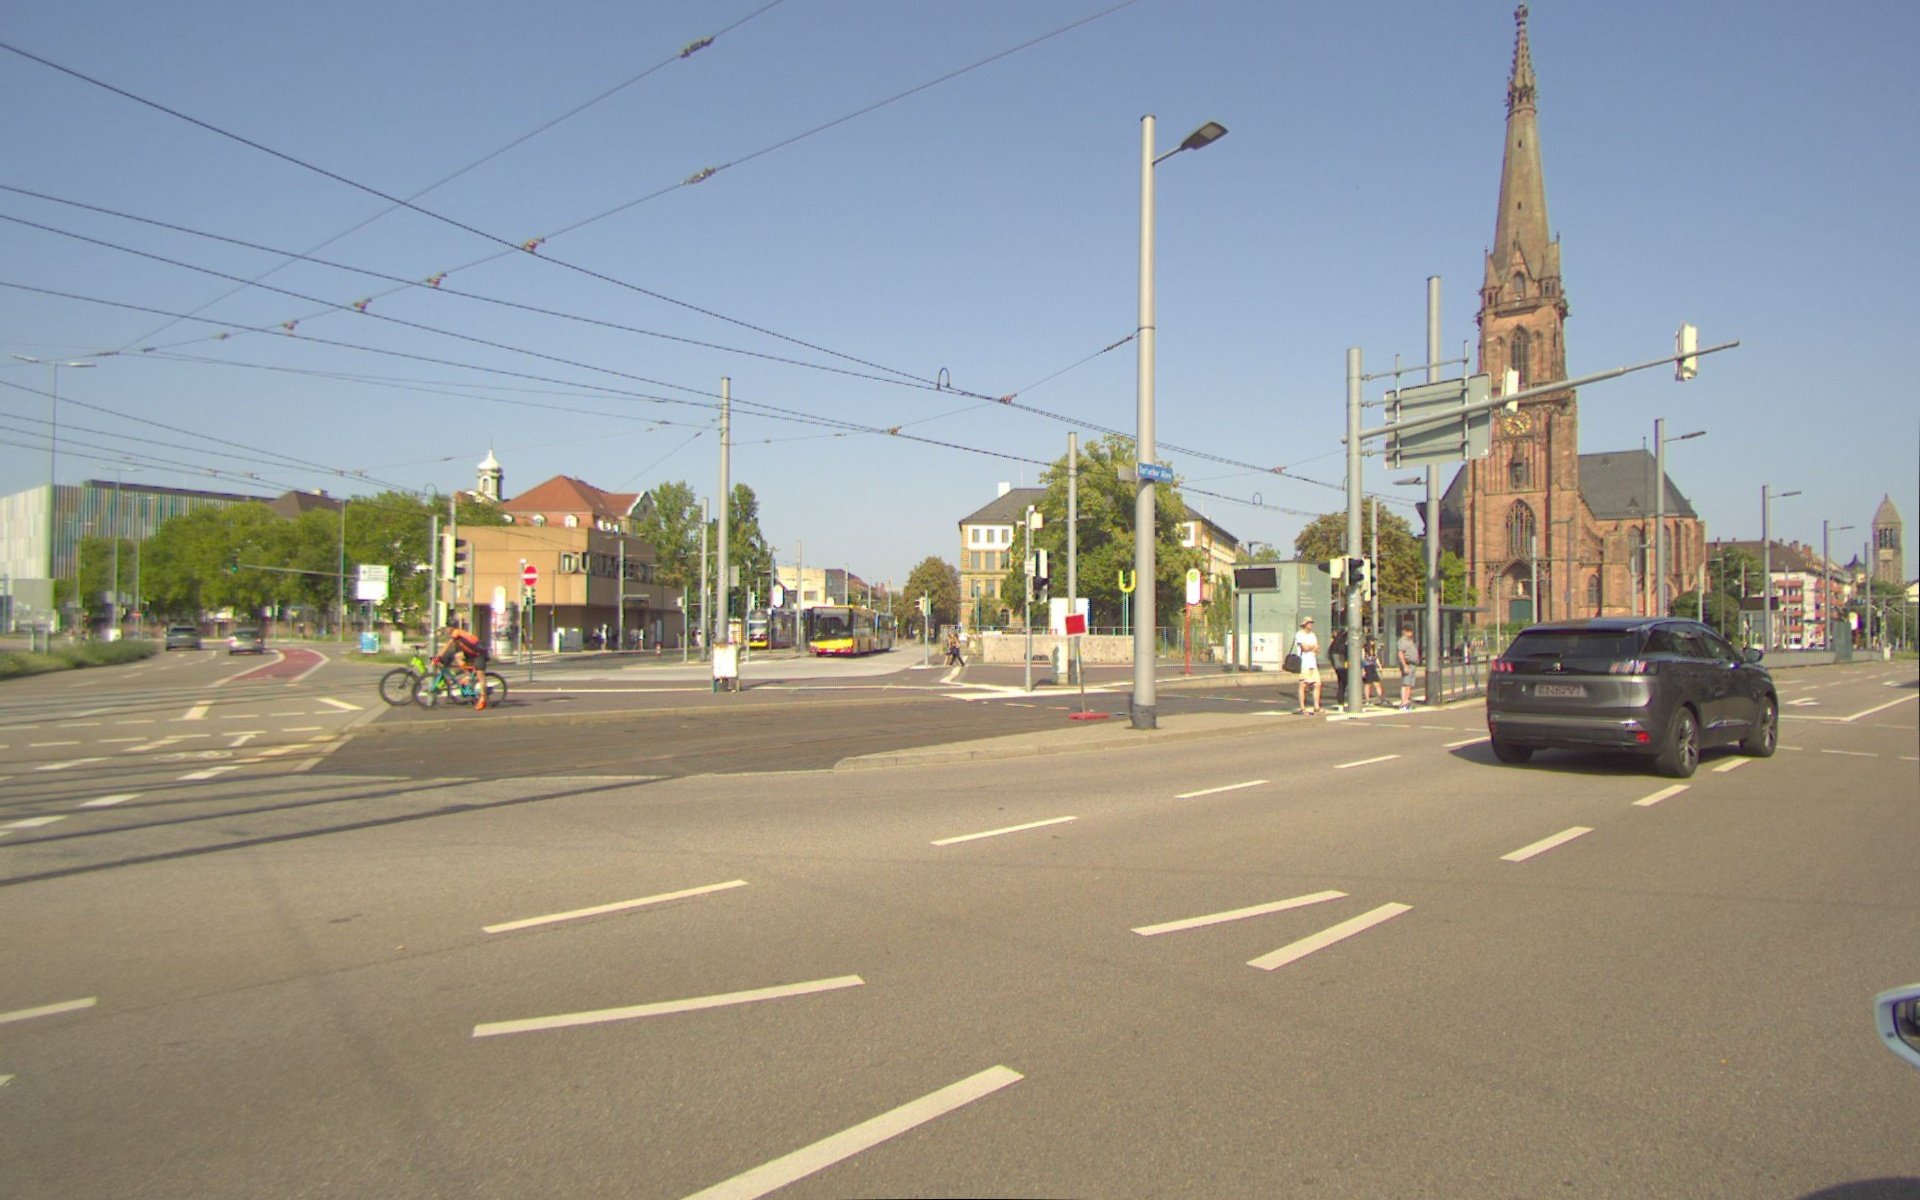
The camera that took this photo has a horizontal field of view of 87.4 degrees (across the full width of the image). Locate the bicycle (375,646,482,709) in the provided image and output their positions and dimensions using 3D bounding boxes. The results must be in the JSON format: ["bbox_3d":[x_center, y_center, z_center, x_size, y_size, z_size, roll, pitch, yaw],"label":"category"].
[{"bbox_3d":[-10.440,1.502,19.788,1.835,1.181,0.375,1,-1,-27],"label":"bicycle"}]

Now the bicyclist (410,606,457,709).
[{"bbox_3d":[-10.420,1.121,19.877,0.797,2.000,0.577,1,-1,-28],"label":"bicyclist"}]

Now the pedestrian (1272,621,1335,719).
[{"bbox_3d":[6.549,1.333,19.162,0.721,1.811,0.828,1,-4,-34],"label":"pedestrian"}]

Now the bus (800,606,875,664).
[{"bbox_3d":[-7.404,2.194,62.839,3.161,3.220,13.319,0,-2,0],"label":"bus"}]

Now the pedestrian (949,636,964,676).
[{"bbox_3d":[-0.157,2.523,45.027,0.629,1.783,0.443,0,-2,1],"label":"pedestrian"}]

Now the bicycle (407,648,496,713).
[{"bbox_3d":[-9.536,1.494,18.869,1.480,1.181,0.309,1,-1,-27],"label":"bicycle"}]

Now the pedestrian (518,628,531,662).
[{"bbox_3d":[-23.044,2.390,53.201,0.395,1.792,0.559,0,-2,4],"label":"pedestrian"}]

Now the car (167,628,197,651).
[{"bbox_3d":[-51.433,2.628,66.432,1.479,1.470,3.488,2,-2,-36],"label":"car"}]

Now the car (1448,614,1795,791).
[{"bbox_3d":[7.622,1.024,11.443,4.316,1.642,1.979,2,-2,-37],"label":"car"}]

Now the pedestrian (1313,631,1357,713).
[{"bbox_3d":[7.542,1.454,20.211,0.465,1.618,0.626,2,-5,-44],"label":"pedestrian"}]

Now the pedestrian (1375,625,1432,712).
[{"bbox_3d":[8.976,1.381,20.324,0.646,1.714,0.807,2,-5,-42],"label":"pedestrian"}]

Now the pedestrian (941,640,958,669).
[{"bbox_3d":[-0.470,2.484,45.559,0.753,1.309,0.558,0,-2,1],"label":"pedestrian"}]

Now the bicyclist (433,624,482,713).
[{"bbox_3d":[-9.454,1.269,18.898,0.797,1.652,0.508,1,-1,-28],"label":"bicyclist"}]

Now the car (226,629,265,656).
[{"bbox_3d":[-41.693,2.445,58.585,1.766,1.528,3.959,2,-2,-36],"label":"car"}]

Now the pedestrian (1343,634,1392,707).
[{"bbox_3d":[8.963,1.547,22.108,0.543,1.568,0.801,2,-5,-41],"label":"pedestrian"}]

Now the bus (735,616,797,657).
[{"bbox_3d":[-17.462,3.285,91.510,3.161,3.464,13.319,0,-2,0],"label":"bus"}]

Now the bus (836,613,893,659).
[{"bbox_3d":[-7.174,2.772,77.407,3.161,3.220,13.319,0,-2,0],"label":"bus"}]
